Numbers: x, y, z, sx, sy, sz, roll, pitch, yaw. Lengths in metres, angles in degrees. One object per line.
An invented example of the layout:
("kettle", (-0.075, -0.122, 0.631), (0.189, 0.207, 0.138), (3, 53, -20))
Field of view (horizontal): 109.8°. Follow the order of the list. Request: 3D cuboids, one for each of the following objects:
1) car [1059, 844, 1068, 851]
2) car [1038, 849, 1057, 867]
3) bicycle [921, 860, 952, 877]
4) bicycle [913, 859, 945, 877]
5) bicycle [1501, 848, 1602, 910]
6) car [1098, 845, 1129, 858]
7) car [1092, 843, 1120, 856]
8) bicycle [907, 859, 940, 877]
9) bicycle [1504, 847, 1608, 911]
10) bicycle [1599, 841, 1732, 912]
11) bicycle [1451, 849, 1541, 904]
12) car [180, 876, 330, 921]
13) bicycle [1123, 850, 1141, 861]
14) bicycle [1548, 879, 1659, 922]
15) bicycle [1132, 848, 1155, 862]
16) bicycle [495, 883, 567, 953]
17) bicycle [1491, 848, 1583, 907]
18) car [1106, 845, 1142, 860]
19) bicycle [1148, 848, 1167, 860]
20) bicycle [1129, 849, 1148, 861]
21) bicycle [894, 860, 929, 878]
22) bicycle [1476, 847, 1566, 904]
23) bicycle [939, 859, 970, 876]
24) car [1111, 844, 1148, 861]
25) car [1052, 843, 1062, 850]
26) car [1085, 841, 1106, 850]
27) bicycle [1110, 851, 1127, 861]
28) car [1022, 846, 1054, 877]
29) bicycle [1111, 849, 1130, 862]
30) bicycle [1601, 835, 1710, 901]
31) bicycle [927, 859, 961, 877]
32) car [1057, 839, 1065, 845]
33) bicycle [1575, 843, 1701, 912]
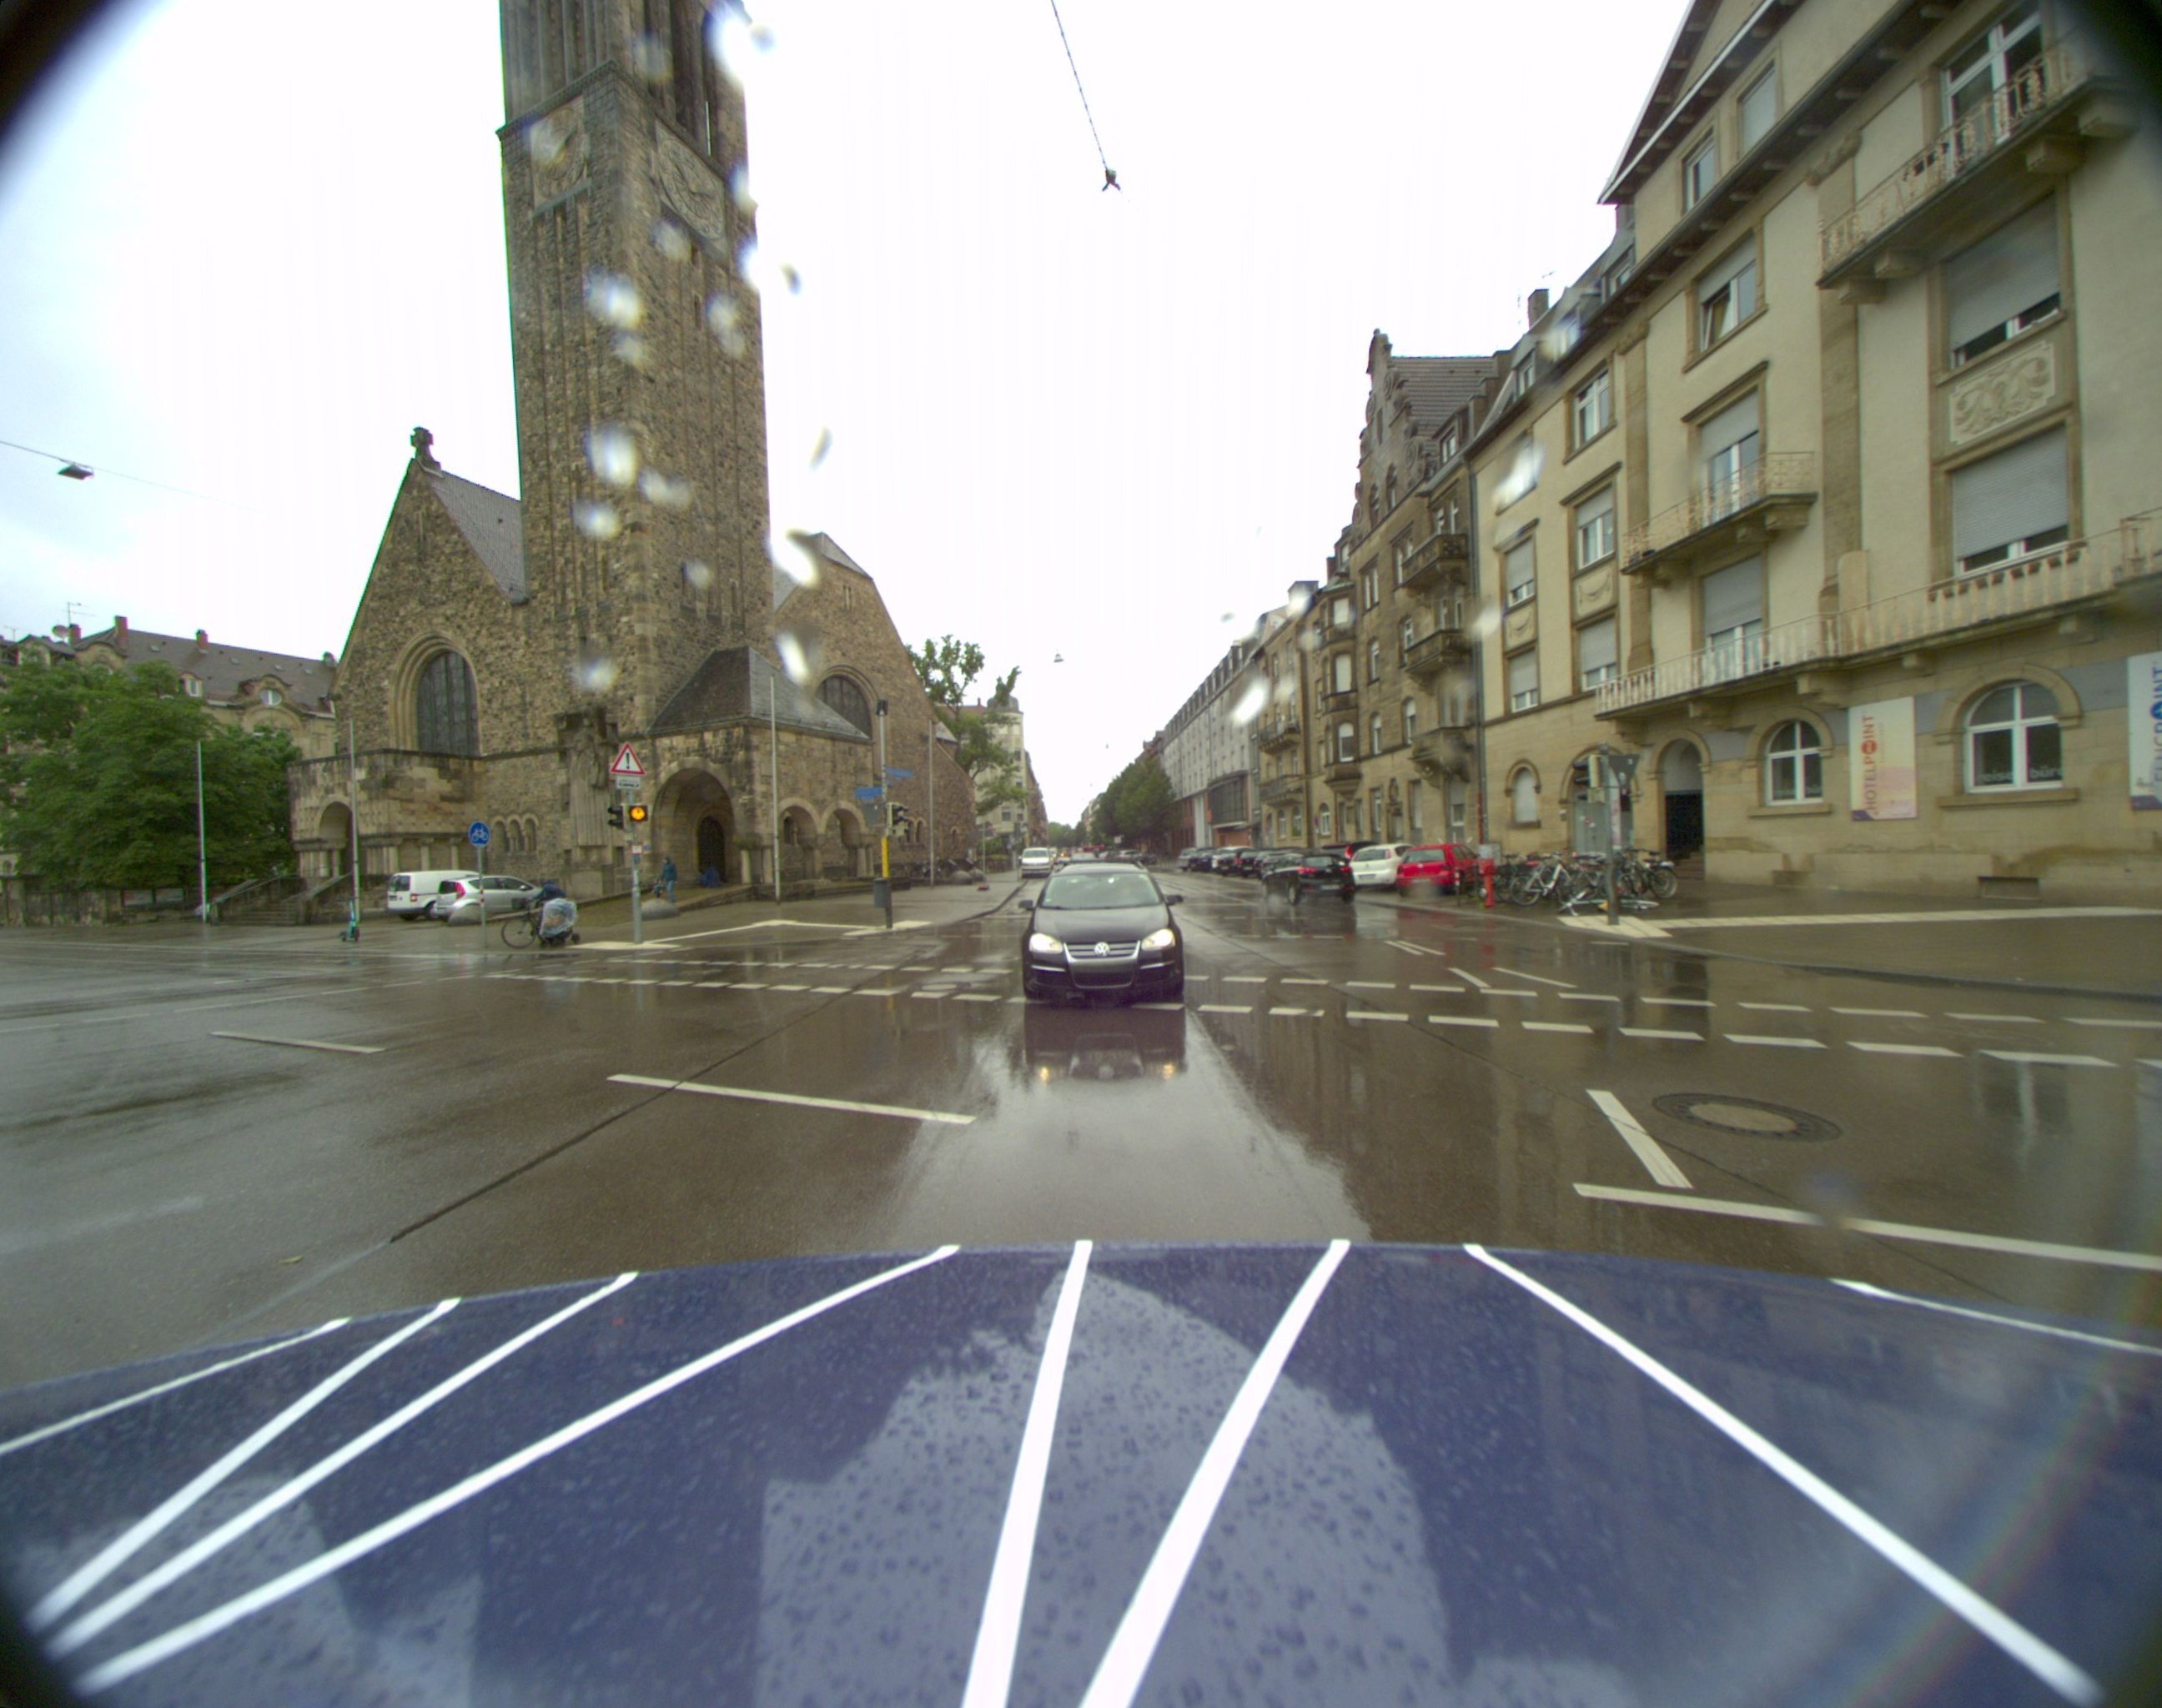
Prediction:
("car", (-4.605, -1.666, 202.892), (1.998, 1.705, 4.375), (-2, 1, 3))
("car", (-3.163, 0.376, 71.694), (1.675, 1.541, 3.917), (-2, 1, -1))
("bicycle", (-9.274, 0.932, 48.818), (1.924, 1.054, 0.582), (-1, 1, 21))
("bicycle", (-9.656, 0.900, 48.280), (1.924, 1.054, 0.582), (-1, 1, 21))
("bicycle", (10.664, 0.549, 17.232), (1.985, 1.178, 0.475), (-6, 2, -4))
("car", (4.330, -0.318, 102.649), (3.803, 1.705, 1.998), (-2, 1, -11))
("car", (3.979, -0.736, 122.926), (4.006, 2.002, 1.995), (-2, 1, -29))
("bicycle", (-9.866, 0.887, 47.625), (1.924, 1.054, 0.582), (-1, 1, 18))
("bicycle", (10.480, 0.541, 16.789), (1.981, 1.322, 0.438), (-2, 1, 1))
("bicycle", (12.021, 0.447, 15.647), (2.347, 1.338, 0.640), (-2, 1, -6))
("bicycle", (10.460, 0.559, 19.208), (1.814, 1.178, 0.600), (-6, 1, 5))
("car", (-36.500, 1.925, 33.708), (1.995, 1.609, 4.005), (-2, 1, 23))
("bicycle", (5.217, 0.113, 77.585), (1.688, 1.067, 0.544), (-3, 1, -4))
("bicycle", (10.151, 0.886, 14.804), (1.044, 0.660, 1.475), (-6, 2, -32))
("bicycle", (5.979, 0.068, 72.879), (2.049, 1.165, 0.773), (-5, 1, -4))
("bicycle", (-12.783, 1.447, 17.727), (0.533, 1.458, 1.938), (-2, 1, -11))
("bicycle", (10.658, 0.548, 17.782), (1.815, 1.178, 0.468), (-6, 2, -3))
("car", (5.039, -0.179, 89.773), (3.803, 1.705, 1.998), (-2, 1, -11))
("bicycle", (7.404, 0.000, 73.869), (1.688, 1.067, 0.544), (-5, 1, -4))
("bicycle", (5.551, 0.120, 73.829), (1.688, 1.067, 0.544), (-5, 1, -4))
("bicycle", (-10.376, 0.927, 46.529), (2.005, 1.043, 0.577), (-1, 1, 16))
("bicycle", (10.583, 0.504, 18.300), (1.815, 1.178, 0.475), (-6, 1, -3))
("bicycle", (-8.403, 0.880, 50.455), (1.978, 1.060, 0.607), (-1, 1, 21))
("car", (5.568, -0.182, 86.699), (3.803, 1.705, 1.998), (-2, 1, -11))
("car", (-5.700, -1.745, 181.408), (1.998, 1.705, 3.802), (-2, 1, 3))
("car", (2.907, -1.682, 150.742), (3.809, 1.705, 1.995), (-2, 1, -35))
("bicycle", (3.865, 0.230, 78.499), (1.688, 1.067, 0.544), (0, 1, -4))
("car", (-2.843, 0.451, 51.644), (1.909, 1.911, 5.271), (-2, 1, -1))
("bicycle", (3.944, 0.191, 75.298), (1.688, 1.067, 0.544), (-7, 2, -4))
("bicycle", (12.646, 0.301, 16.741), (2.063, 1.338, 0.584), (-2, 1, -6))
("bicycle", (-8.920, 0.909, 49.448), (2.151, 1.054, 0.679), (-1, 1, 21))
("car", (-5.925, -3.526, 225.867), (1.838, 1.827, 4.000), (-2, 1, 3))
("bicycle", (11.935, 0.487, 16.298), (2.347, 1.338, 0.640), (-2, 1, -6))
